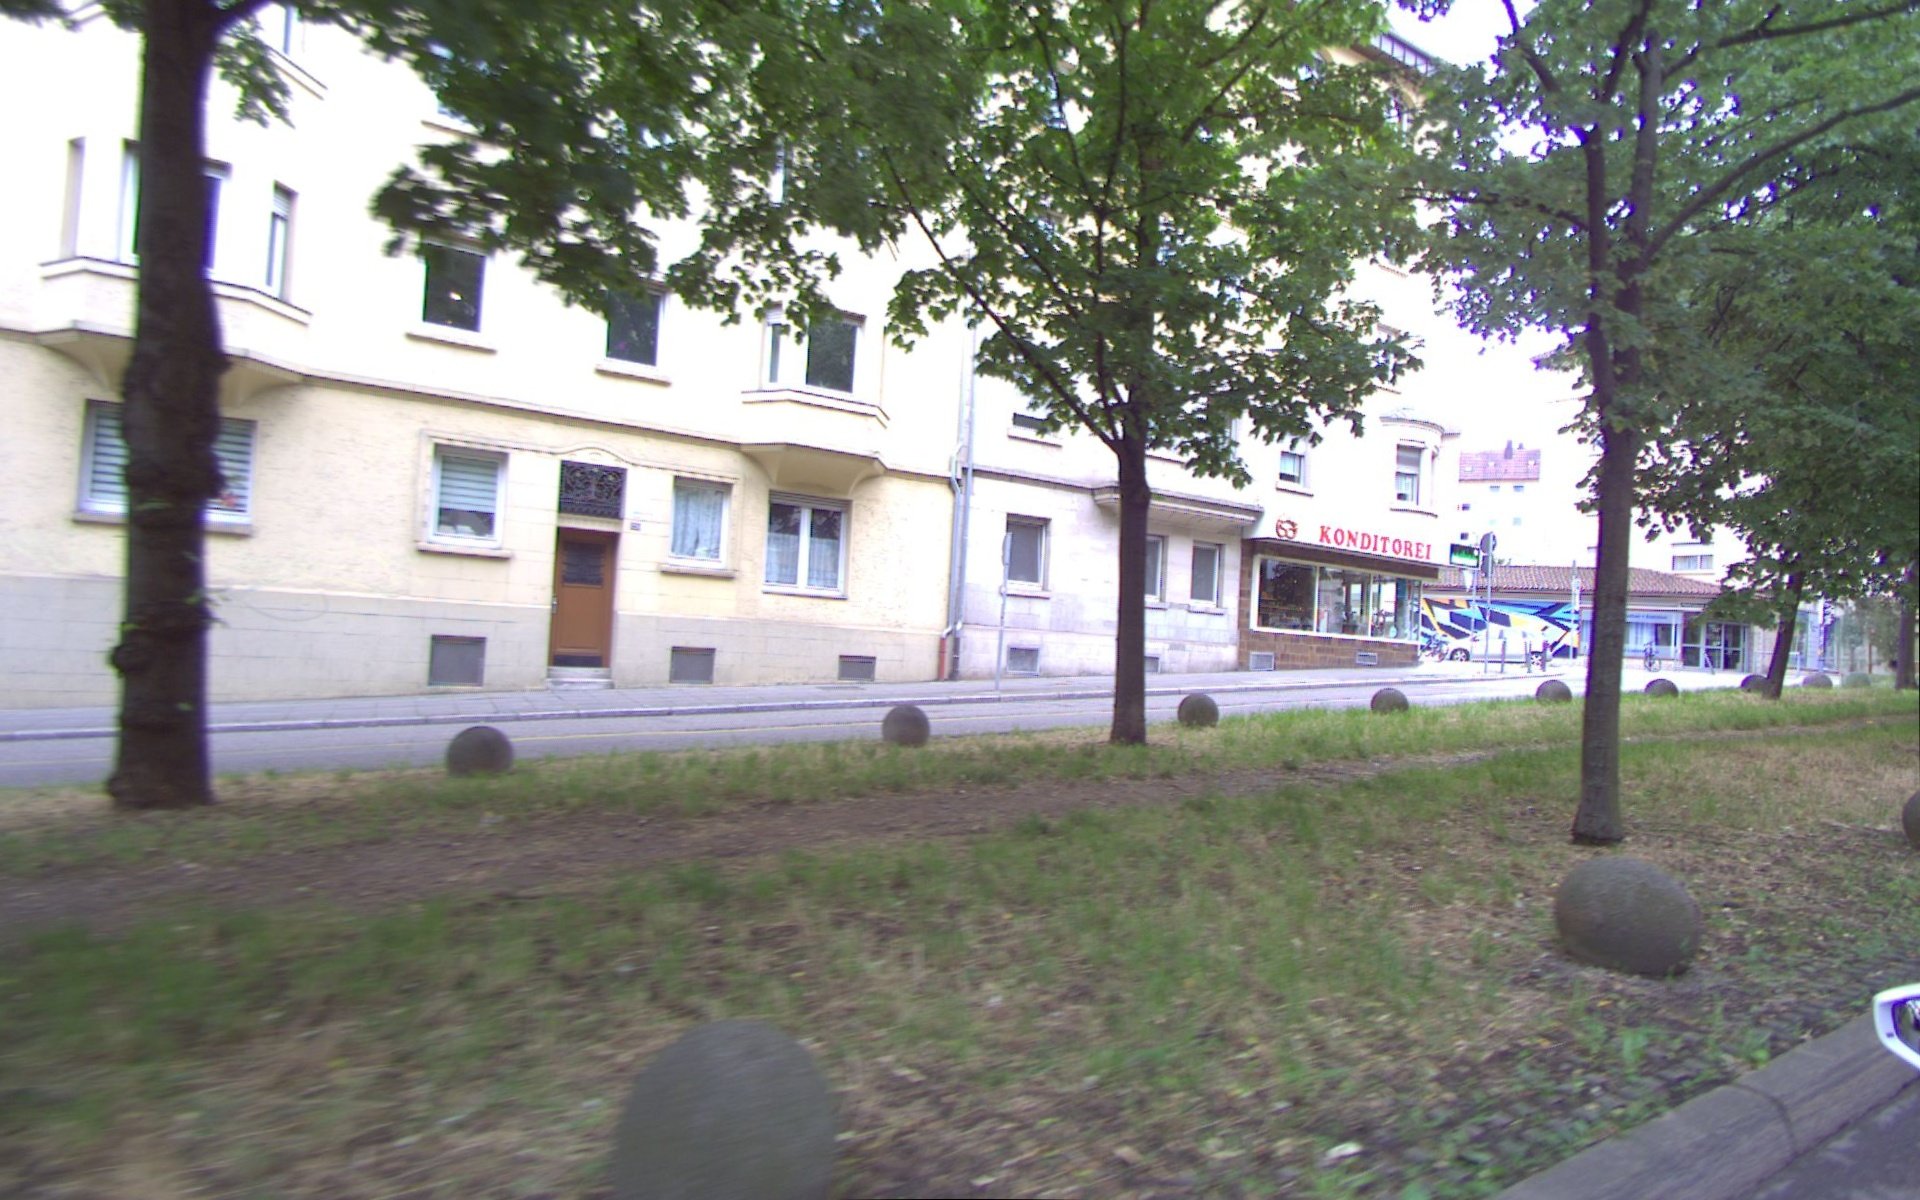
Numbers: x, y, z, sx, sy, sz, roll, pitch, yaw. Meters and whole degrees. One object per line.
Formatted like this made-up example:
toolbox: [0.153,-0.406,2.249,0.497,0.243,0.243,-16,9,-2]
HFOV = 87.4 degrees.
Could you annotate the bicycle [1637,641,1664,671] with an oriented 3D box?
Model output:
bicycle: [27.027,2.180,39.297,0.752,1.099,2.030,3,-1,36]

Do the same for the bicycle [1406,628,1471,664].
bicycle: [16.335,1.564,34.369,0.851,1.060,2.458,3,0,-4]

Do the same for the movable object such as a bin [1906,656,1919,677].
movable object such as a bin: [51.208,3.577,53.776,0.684,1.073,0.686,4,-1,-37]

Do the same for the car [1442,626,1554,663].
car: [22.305,1.870,41.825,3.966,1.498,1.820,-2,-4,26]
